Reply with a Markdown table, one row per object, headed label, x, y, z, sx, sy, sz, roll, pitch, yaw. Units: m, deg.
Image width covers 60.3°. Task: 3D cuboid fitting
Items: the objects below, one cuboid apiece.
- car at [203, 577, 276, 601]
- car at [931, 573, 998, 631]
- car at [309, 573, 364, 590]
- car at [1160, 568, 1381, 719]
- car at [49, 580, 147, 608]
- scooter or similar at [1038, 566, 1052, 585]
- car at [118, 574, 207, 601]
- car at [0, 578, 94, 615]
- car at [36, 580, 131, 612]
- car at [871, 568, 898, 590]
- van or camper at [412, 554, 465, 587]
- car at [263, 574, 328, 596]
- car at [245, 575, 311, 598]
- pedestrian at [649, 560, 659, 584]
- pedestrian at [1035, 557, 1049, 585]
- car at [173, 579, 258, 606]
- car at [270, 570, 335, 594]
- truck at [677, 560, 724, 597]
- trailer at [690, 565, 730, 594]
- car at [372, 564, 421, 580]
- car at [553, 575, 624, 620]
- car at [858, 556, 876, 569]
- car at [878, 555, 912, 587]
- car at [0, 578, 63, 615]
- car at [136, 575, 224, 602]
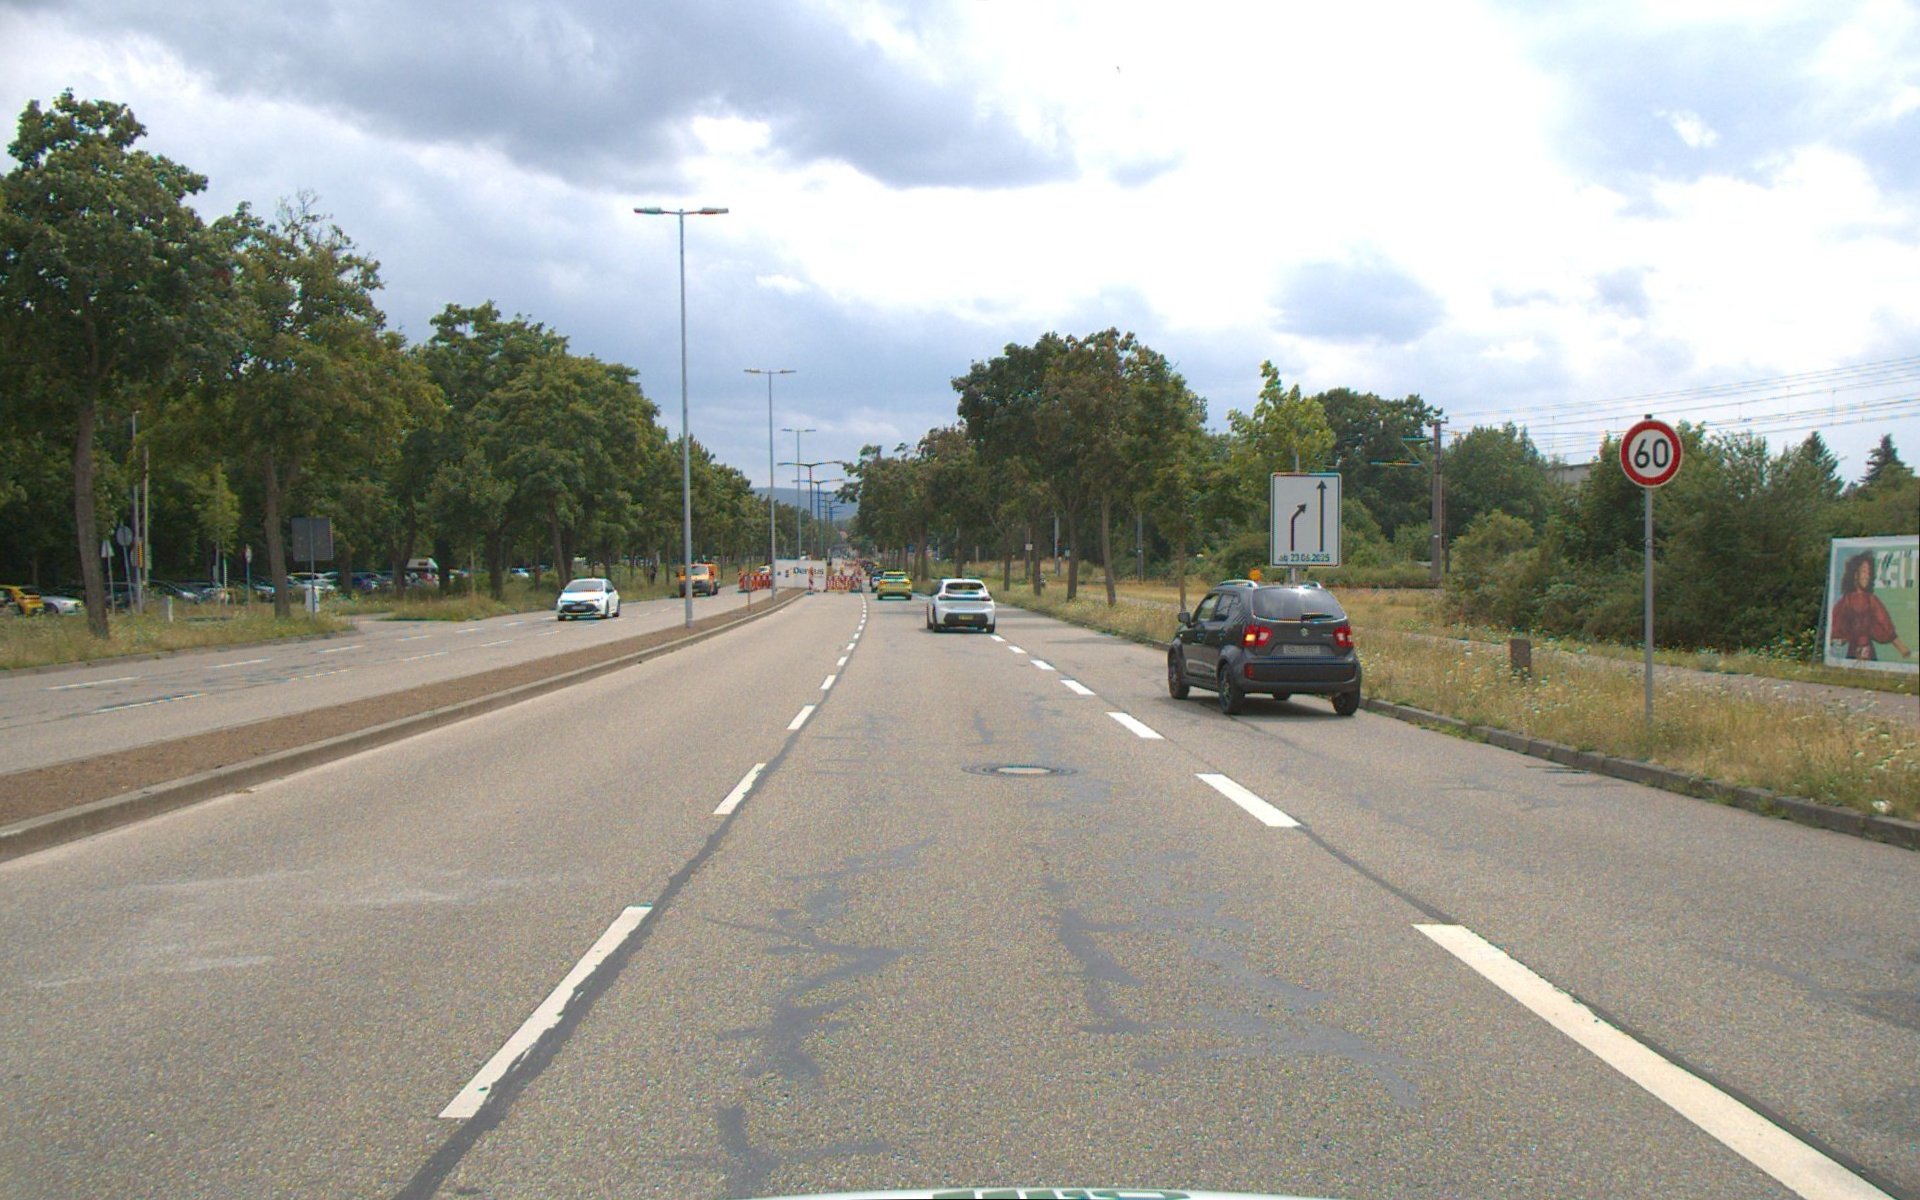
| label | x | y | z | sx | sy | sz | roll | pitch | yaw |
| --- | --- | --- | --- | --- | --- | --- | --- | --- | --- |
| car | -42.807 | -0.649 | 98.317 | 3.571 | 1.384 | 1.708 | 0 | 2 | -1 |
| car | 0.087 | 0.026 | 46.437 | 1.731 | 1.489 | 3.999 | 0 | 2 | -2 |
| car | -43.779 | -1.312 | 116.201 | 3.299 | 1.113 | 1.441 | 0 | 2 | -2 |
| car | 3.842 | 0.471 | 21.138 | 1.671 | 1.697 | 3.995 | 1 | 2 | -6 |
| car | -42.102 | -0.292 | 80.836 | 3.907 | 1.281 | 1.563 | 0 | 2 | -3 |
| scooter or similar | 5.119 | -1.466 | 99.809 | 0.669 | 1.149 | 0.932 | 0 | 2 | -8 |
| car | -42.444 | -0.680 | 88.056 | 3.906 | 1.384 | 1.667 | 0 | 2 | -1 |
| car | -40.475 | -0.164 | 72.437 | 4.096 | 1.524 | 1.885 | 0 | 2 | -2 |
| car | -40.652 | -0.210 | 76.764 | 3.575 | 1.436 | 1.517 | 0 | 2 | -1 |
| car | -4.777 | -1.371 | 105.155 | 1.633 | 1.292 | 3.999 | 0 | 2 | -2 |
| van or camper | -44.896 | -2.527 | 142.440 | 3.908 | 2.804 | 1.926 | 0 | 2 | -3 |
| car | -43.157 | -0.984 | 107.419 | 3.575 | 1.436 | 1.517 | 0 | 2 | -1 |
| car | -43.228 | -0.876 | 104.876 | 3.575 | 1.436 | 1.517 | 0 | 2 | -1 |
| pedestrian | -24.032 | -2.207 | 129.945 | 0.682 | 1.870 | 0.646 | -1 | 2 | -25 |
| pedestrian | 5.003 | -1.774 | 100.725 | 0.677 | 1.724 | 0.932 | 0 | 2 | -8 |
| car | -42.248 | -0.423 | 93.907 | 3.904 | 1.435 | 2.001 | 0 | 2 | 2 |
| car | -43.745 | -1.179 | 110.056 | 3.575 | 1.545 | 1.883 | 0 | 2 | -1 |
| truck | -15.734 | -1.334 | 100.537 | 2.047 | 2.029 | 6.037 | -2 | 2 | -2 |
| trailer | -15.863 | -1.336 | 105.082 | 2.020 | 1.719 | 3.894 | -2 | 1 | -1 |
| car | -44.046 | -2.196 | 129.365 | 3.299 | 1.253 | 1.441 | 0 | 2 | -2 |
| car | -13.375 | -0.120 | 59.709 | 1.682 | 1.444 | 4.159 | -2 | 2 | -2 |
| car | -12.018 | -4.841 | 213.192 | 2.161 | 1.713 | 4.000 | 0 | 2 | -1 |
| car | -3.376 | -1.517 | 86.548 | 1.757 | 1.589 | 3.999 | 0 | 2 | -2 |
| car | -40.496 | -0.151 | 70.163 | 3.906 | 1.524 | 1.785 | 0 | 2 | -2 |
| car | -42.460 | -0.627 | 90.054 | 3.906 | 1.384 | 1.822 | 0 | 2 | -1 |
